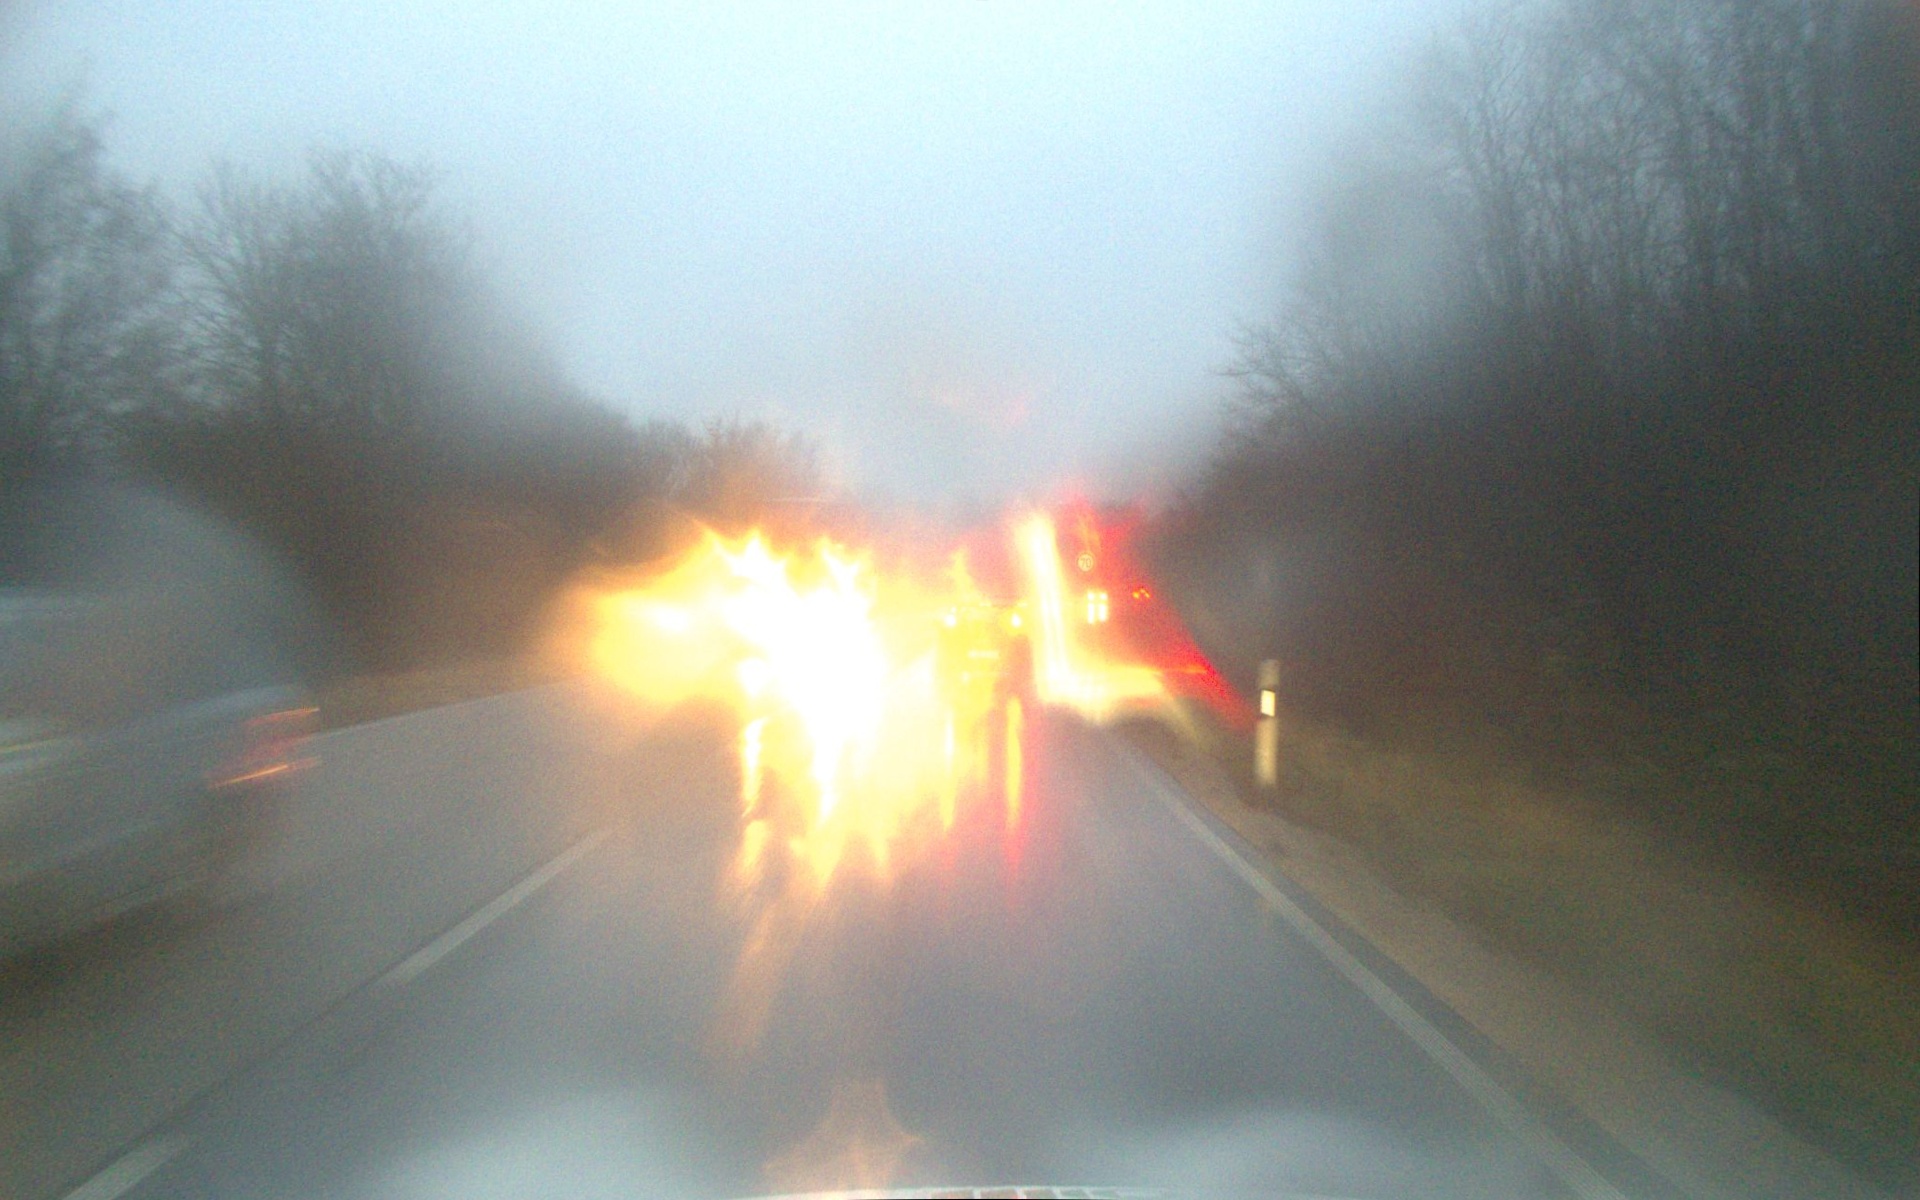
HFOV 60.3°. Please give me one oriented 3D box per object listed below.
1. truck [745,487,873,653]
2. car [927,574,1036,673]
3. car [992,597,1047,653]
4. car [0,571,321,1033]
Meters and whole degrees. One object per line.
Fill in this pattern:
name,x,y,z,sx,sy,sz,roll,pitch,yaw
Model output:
truck,-3.686,-0.734,42.201,2.765,3.781,8.530,-1,0,-2
car,0.327,0.381,30.220,1.693,1.672,3.997,-1,0,-4
car,2.318,0.925,63.464,1.951,2.049,4.002,-1,0,4
car,-3.983,0.643,5.815,1.710,1.499,4.483,2,0,0
